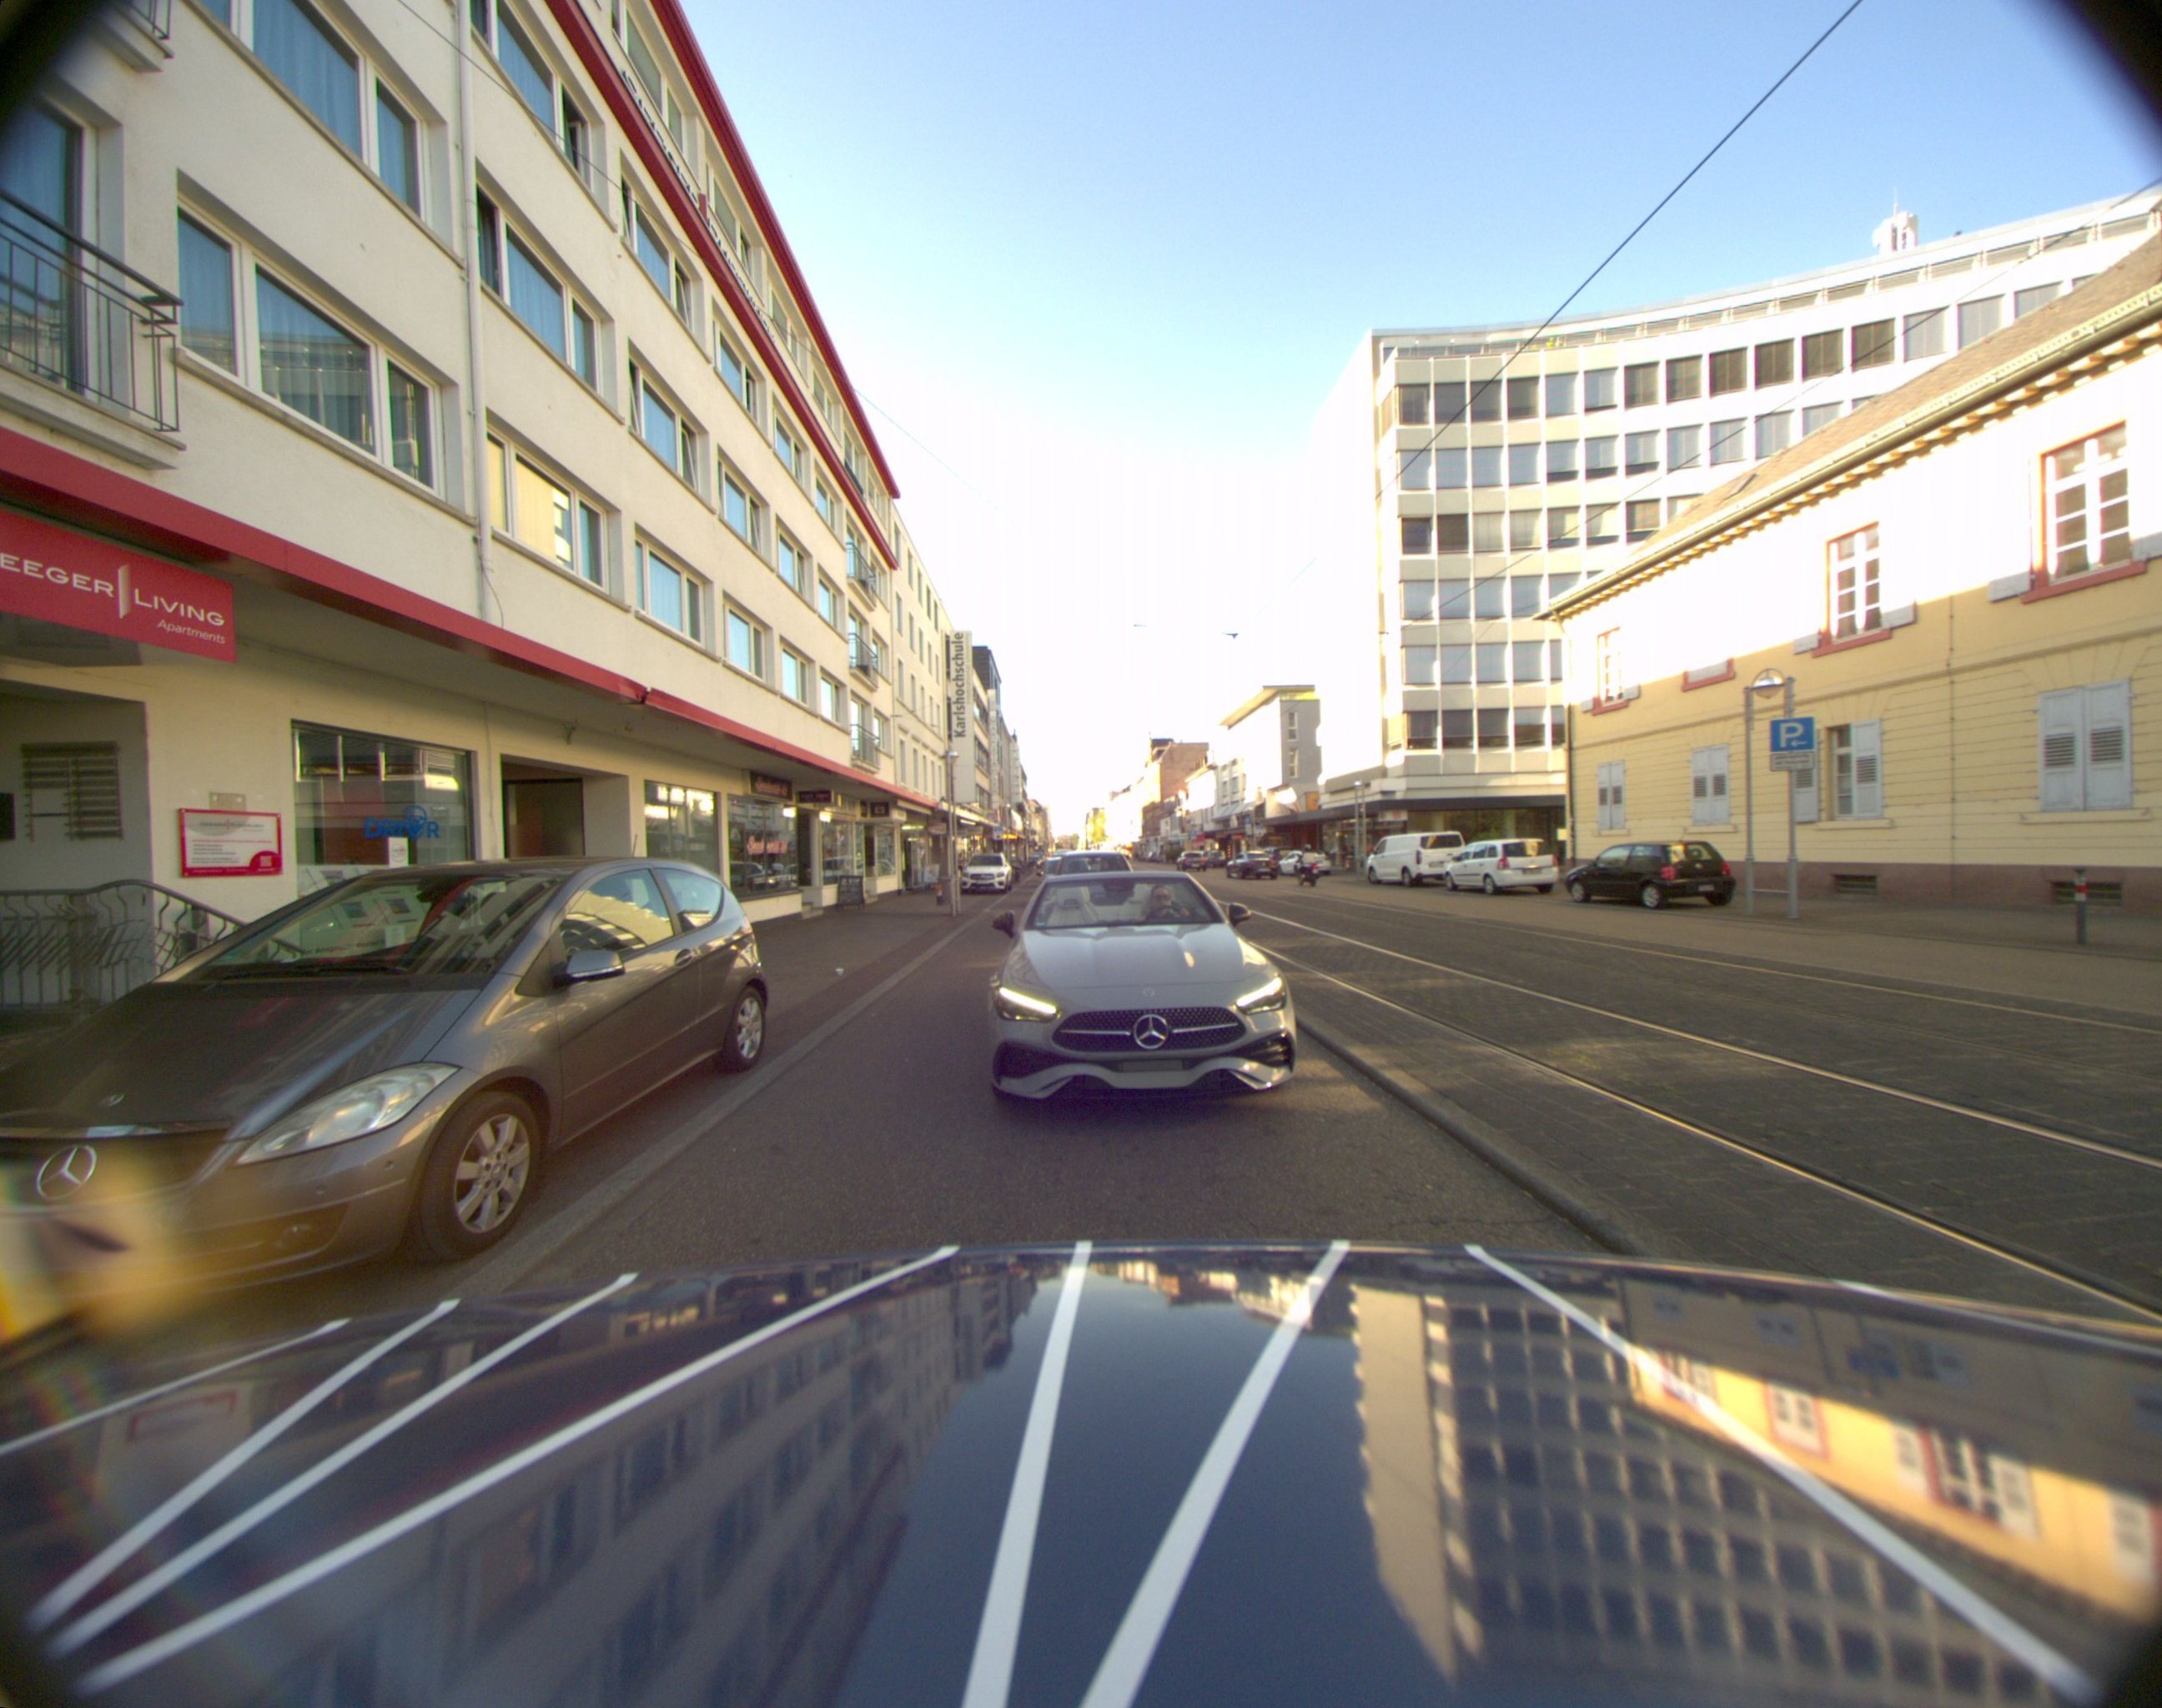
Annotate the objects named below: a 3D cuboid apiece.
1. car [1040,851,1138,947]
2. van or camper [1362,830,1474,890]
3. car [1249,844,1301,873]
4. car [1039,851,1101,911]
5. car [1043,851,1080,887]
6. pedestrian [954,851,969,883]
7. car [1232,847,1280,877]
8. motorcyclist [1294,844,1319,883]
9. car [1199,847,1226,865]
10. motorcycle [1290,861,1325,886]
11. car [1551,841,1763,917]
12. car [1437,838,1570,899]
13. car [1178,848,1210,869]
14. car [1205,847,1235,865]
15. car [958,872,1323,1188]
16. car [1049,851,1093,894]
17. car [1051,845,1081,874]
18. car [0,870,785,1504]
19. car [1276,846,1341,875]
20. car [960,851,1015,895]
[{"bbox_3d":[0.137,0.799,15.498,1.737,1.654,3.960,0,1,0],"label":"car"},{"bbox_3d":[12.672,0.173,28.967,1.960,1.962,4.795,-4,1,-2],"label":"van or camper"},{"bbox_3d":[12.135,0.236,47.798,1.931,1.632,4.280,-4,1,-3],"label":"car"},{"bbox_3d":[-0.324,0.756,23.730,1.783,1.654,3.960,0,1,0],"label":"car"},{"bbox_3d":[-0.922,0.683,37.481,1.737,1.654,3.780,0,1,0],"label":"car"},{"bbox_3d":[-6.944,0.765,44.070,0.706,1.807,0.807,-2,1,-3],"label":"pedestrian"},{"bbox_3d":[9.189,0.384,40.277,1.781,1.500,4.671,-1,0,4],"label":"car"},{"bbox_3d":[9.179,0.368,30.962,0.654,1.550,0.884,-2,1,-6],"label":"motorcyclist"},{"bbox_3d":[12.223,0.161,70.796,1.786,1.511,3.832,-2,1,-1],"label":"car"},{"bbox_3d":[9.203,0.792,30.979,0.601,0.921,2.154,-2,1,-5],"label":"motorcycle"},{"bbox_3d":[12.919,0.478,17.395,1.781,1.431,3.960,-3,1,0],"label":"car"},{"bbox_3d":[12.749,0.368,23.263,1.781,1.611,4.175,-3,1,2],"label":"car"},{"bbox_3d":[8.385,0.292,56.646,1.781,1.500,3.859,-1,0,-1],"label":"car"},{"bbox_3d":[11.905,0.125,65.384,1.786,1.409,3.596,-2,1,-2],"label":"car"},{"bbox_3d":[0.299,0.963,6.291,1.869,1.431,4.773,0,1,0],"label":"car"},{"bbox_3d":[-0.409,0.726,32.200,1.737,1.654,3.960,0,1,0],"label":"car"},{"bbox_3d":[-0.868,0.301,46.514,1.737,1.654,3.960,0,1,0],"label":"car"},{"bbox_3d":[-3.222,0.939,3.996,1.781,1.560,3.960,0,1,0],"label":"car"},{"bbox_3d":[12.535,0.325,42.158,1.931,1.444,4.291,-4,1,-5],"label":"car"},{"bbox_3d":[-3.811,0.741,31.601,1.783,1.654,4.162,0,1,0],"label":"car"}]
